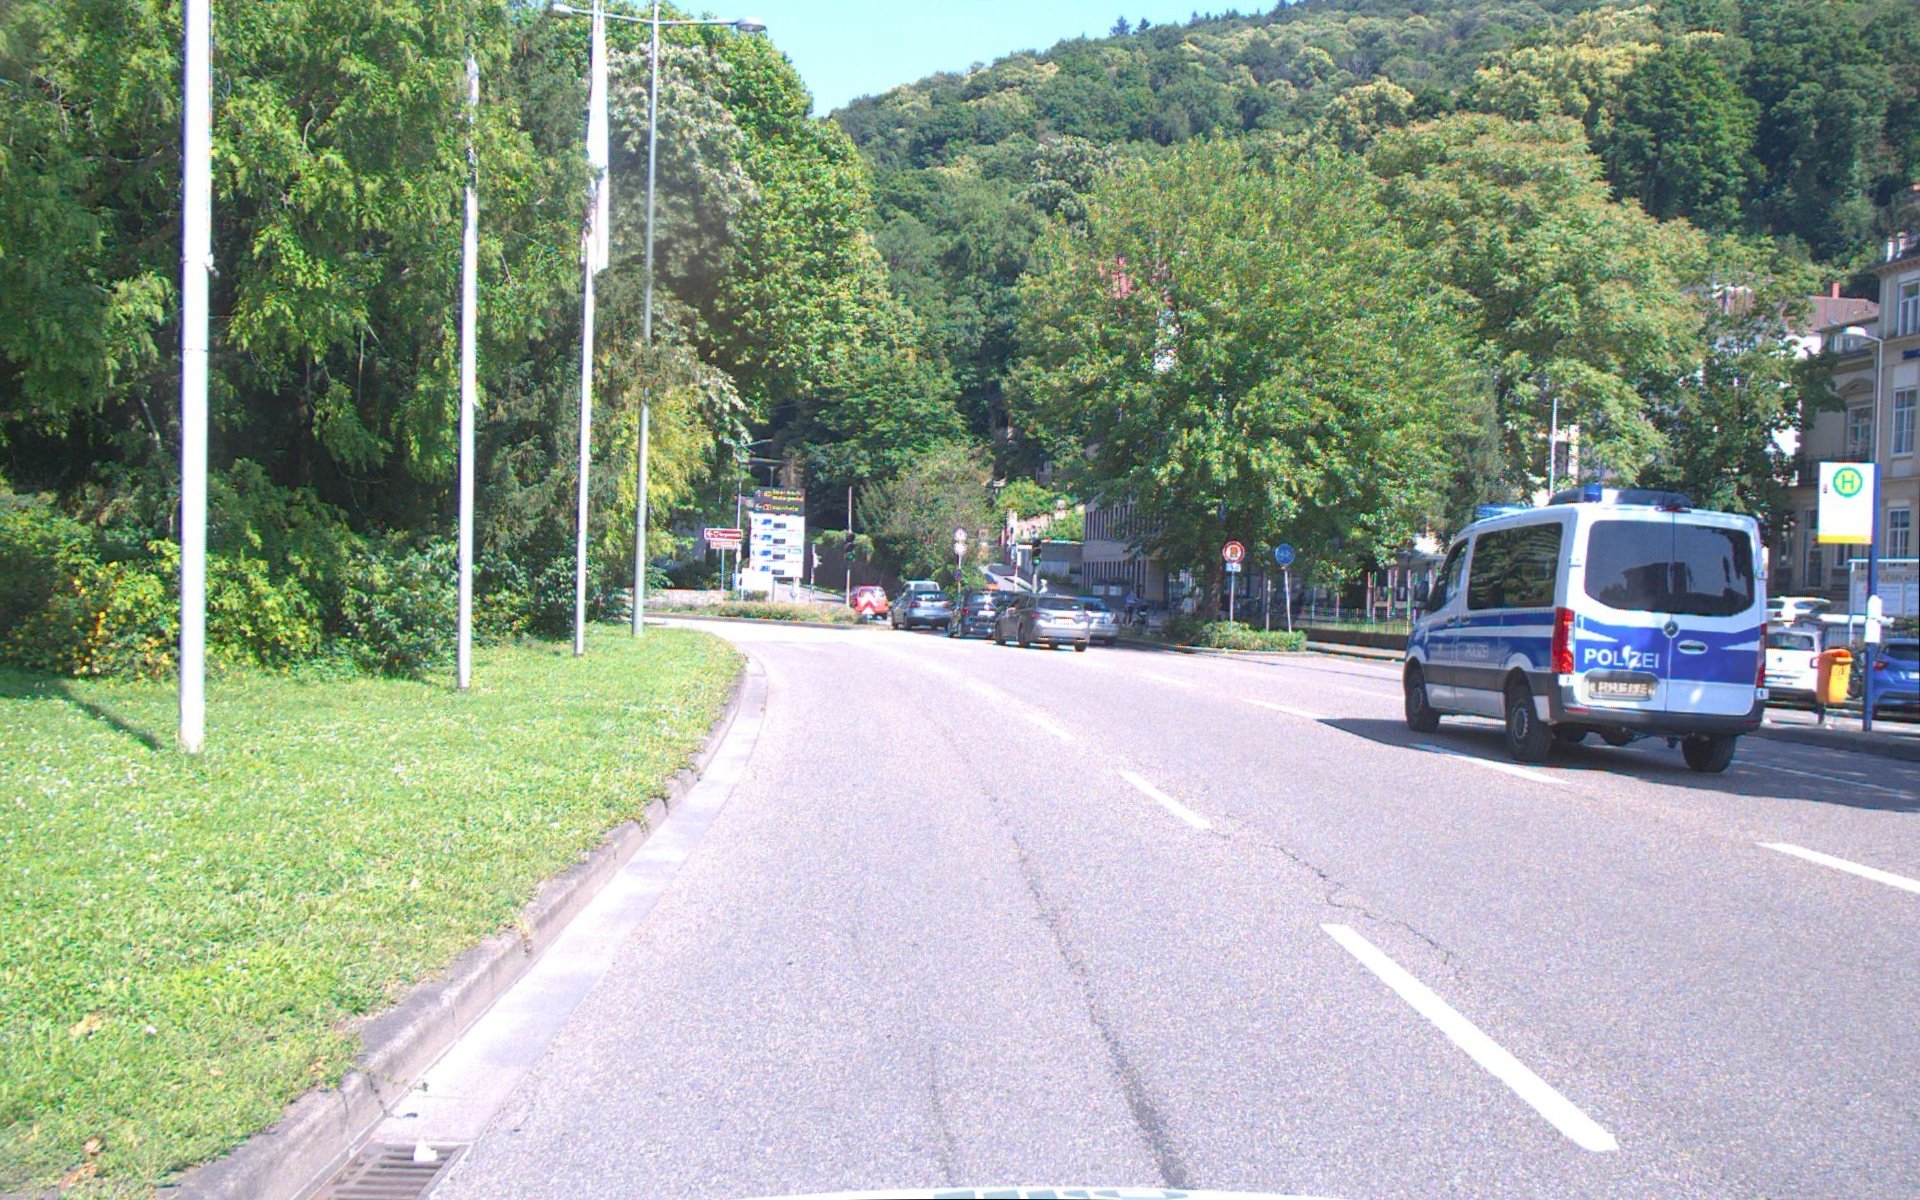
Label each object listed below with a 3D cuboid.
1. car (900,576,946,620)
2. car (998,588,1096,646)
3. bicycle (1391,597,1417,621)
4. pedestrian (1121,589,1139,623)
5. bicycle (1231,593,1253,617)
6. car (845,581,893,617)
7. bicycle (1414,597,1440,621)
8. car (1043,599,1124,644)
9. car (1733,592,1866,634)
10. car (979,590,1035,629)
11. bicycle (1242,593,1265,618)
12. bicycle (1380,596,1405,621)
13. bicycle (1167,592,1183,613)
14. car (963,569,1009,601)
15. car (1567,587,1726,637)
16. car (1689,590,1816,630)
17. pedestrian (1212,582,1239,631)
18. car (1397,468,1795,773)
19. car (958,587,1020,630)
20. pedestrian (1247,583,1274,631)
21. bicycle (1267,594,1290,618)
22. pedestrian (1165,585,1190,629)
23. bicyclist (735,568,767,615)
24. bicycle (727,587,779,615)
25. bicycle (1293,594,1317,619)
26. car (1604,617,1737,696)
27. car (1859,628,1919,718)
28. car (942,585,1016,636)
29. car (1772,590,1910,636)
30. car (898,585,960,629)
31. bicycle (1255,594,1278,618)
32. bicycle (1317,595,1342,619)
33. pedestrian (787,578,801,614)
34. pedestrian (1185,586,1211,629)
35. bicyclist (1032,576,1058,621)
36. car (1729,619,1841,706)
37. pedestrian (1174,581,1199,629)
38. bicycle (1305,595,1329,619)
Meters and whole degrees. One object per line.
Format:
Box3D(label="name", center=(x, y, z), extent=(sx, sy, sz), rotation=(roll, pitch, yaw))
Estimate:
Box3D(label="car", center=(-1.790, -0.120, 79.234), extent=(1.724, 1.971, 3.487), rotation=(2, 1, -9))
Box3D(label="car", center=(2.233, 0.428, 43.465), extent=(1.724, 1.357, 3.793), rotation=(2, 1, -10))
Box3D(label="bicycle", center=(21.141, 0.413, 78.795), extent=(0.527, 1.104, 1.832), rotation=(1, 1, -7))
Box3D(label="pedestrian", center=(7.528, 0.273, 73.348), extent=(0.482, 1.483, 0.730), rotation=(1, 0, -21))
Box3D(label="bicycle", center=(13.299, 0.239, 78.064), extent=(0.527, 1.104, 1.832), rotation=(1, 1, -7))
Box3D(label="car", center=(-4.096, -0.064, 74.100), extent=(1.724, 1.486, 3.487), rotation=(2, 1, -9))
Box3D(label="bicycle", center=(22.308, 0.438, 79.084), extent=(0.527, 1.104, 1.832), rotation=(1, 1, -7))
Box3D(label="car", center=(3.795, 0.644, 51.259), extent=(1.724, 1.234, 3.487), rotation=(2, 1, -9))
Box3D(label="car", center=(30.069, 0.462, 59.292), extent=(4.003, 1.359, 1.817), rotation=(1, 1, -12))
Box3D(label="car", center=(1.953, 0.370, 69.616), extent=(1.724, 1.486, 3.487), rotation=(2, 1, -9))
Box3D(label="bicycle", center=(13.849, 0.251, 78.091), extent=(0.527, 1.104, 1.832), rotation=(1, 1, -7))
Box3D(label="bicycle", center=(20.569, 0.401, 78.679), extent=(0.527, 1.104, 1.832), rotation=(1, 1, -7))
Box3D(label="bicycle", center=(10.801, 0.133, 83.099), extent=(0.397, 1.030, 1.339), rotation=(1, 1, -8))
Box3D(label="car", center=(1.406, -0.830, 91.581), extent=(1.895, 1.726, 3.992), rotation=(1, 0, -9))
Box3D(label="car", center=(20.547, 0.362, 49.575), extent=(3.968, 1.359, 1.986), rotation=(1, 1, -12))
Box3D(label="car", center=(29.504, 0.377, 61.637), extent=(3.968, 1.359, 1.817), rotation=(1, 1, -12))
Box3D(label="pedestrian", center=(10.507, 0.254, 65.410), extent=(0.757, 1.886, 0.827), rotation=(2, 0, -10))
Box3D(label="car", center=(6.140, 0.174, 16.737), extent=(2.031, 2.552, 4.929), rotation=(2, 0, 0))
Box3D(label="car", center=(1.071, 0.296, 62.960), extent=(1.724, 1.486, 3.638), rotation=(2, 1, -9))
Box3D(label="pedestrian", center=(11.912, 0.280, 65.666), extent=(0.757, 1.886, 0.827), rotation=(2, 0, -10))
Box3D(label="bicycle", center=(15.054, 0.278, 78.248), extent=(0.527, 1.104, 1.832), rotation=(1, 1, -7))
Box3D(label="pedestrian", center=(8.775, 0.278, 66.707), extent=(0.756, 1.691, 0.828), rotation=(2, 0, -8))
Box3D(label="bicyclist", center=(-8.904, -0.373, 70.445), extent=(1.102, 1.966, 0.749), rotation=(2, 0, 16))
Box3D(label="bicycle", center=(-8.831, 0.040, 70.430), extent=(2.032, 1.132, 0.757), rotation=(2, 0, 16))
Box3D(label="bicycle", center=(16.329, 0.306, 78.319), extent=(0.527, 1.104, 1.832), rotation=(1, 1, -7))
Box3D(label="car", center=(15.144, 1.163, 35.135), extent=(1.791, 1.487, 4.093), rotation=(3, 1, 35))
Box3D(label="car", center=(17.283, 1.299, 29.946), extent=(1.676, 1.467, 3.806), rotation=(3, 1, 28))
Box3D(label="car", center=(0.554, 0.304, 51.980), extent=(1.724, 1.486, 3.487), rotation=(2, 1, -9))
Box3D(label="car", center=(30.350, 0.433, 57.016), extent=(3.977, 1.444, 1.817), rotation=(1, 1, -12))
Box3D(label="car", center=(-1.173, 0.230, 60.203), extent=(1.724, 1.486, 3.638), rotation=(2, 1, -9))
Box3D(label="bicycle", center=(14.476, 0.265, 78.165), extent=(0.527, 1.104, 1.832), rotation=(1, 1, -7))
Box3D(label="bicycle", center=(17.535, 0.333, 78.519), extent=(0.527, 1.104, 1.832), rotation=(1, 1, -7))
Box3D(label="pedestrian", center=(-7.661, -0.200, 76.223), extent=(0.535, 1.649, 0.634), rotation=(1, 1, 0))
Box3D(label="pedestrian", center=(9.535, 0.299, 66.292), extent=(0.756, 1.691, 0.828), rotation=(2, 0, -7))
Box3D(label="bicyclist", center=(3.775, -0.054, 73.594), extent=(1.102, 1.966, 0.748), rotation=(2, 0, 4))
Box3D(label="car", center=(16.429, 1.191, 32.853), extent=(1.677, 1.538, 3.803), rotation=(3, 1, 31))
Box3D(label="pedestrian", center=(8.981, 0.188, 65.553), extent=(0.756, 1.886, 0.828), rotation=(2, 0, -6))
Box3D(label="bicycle", center=(16.908, 0.319, 78.417), extent=(0.527, 1.104, 1.832), rotation=(1, 1, -7))
